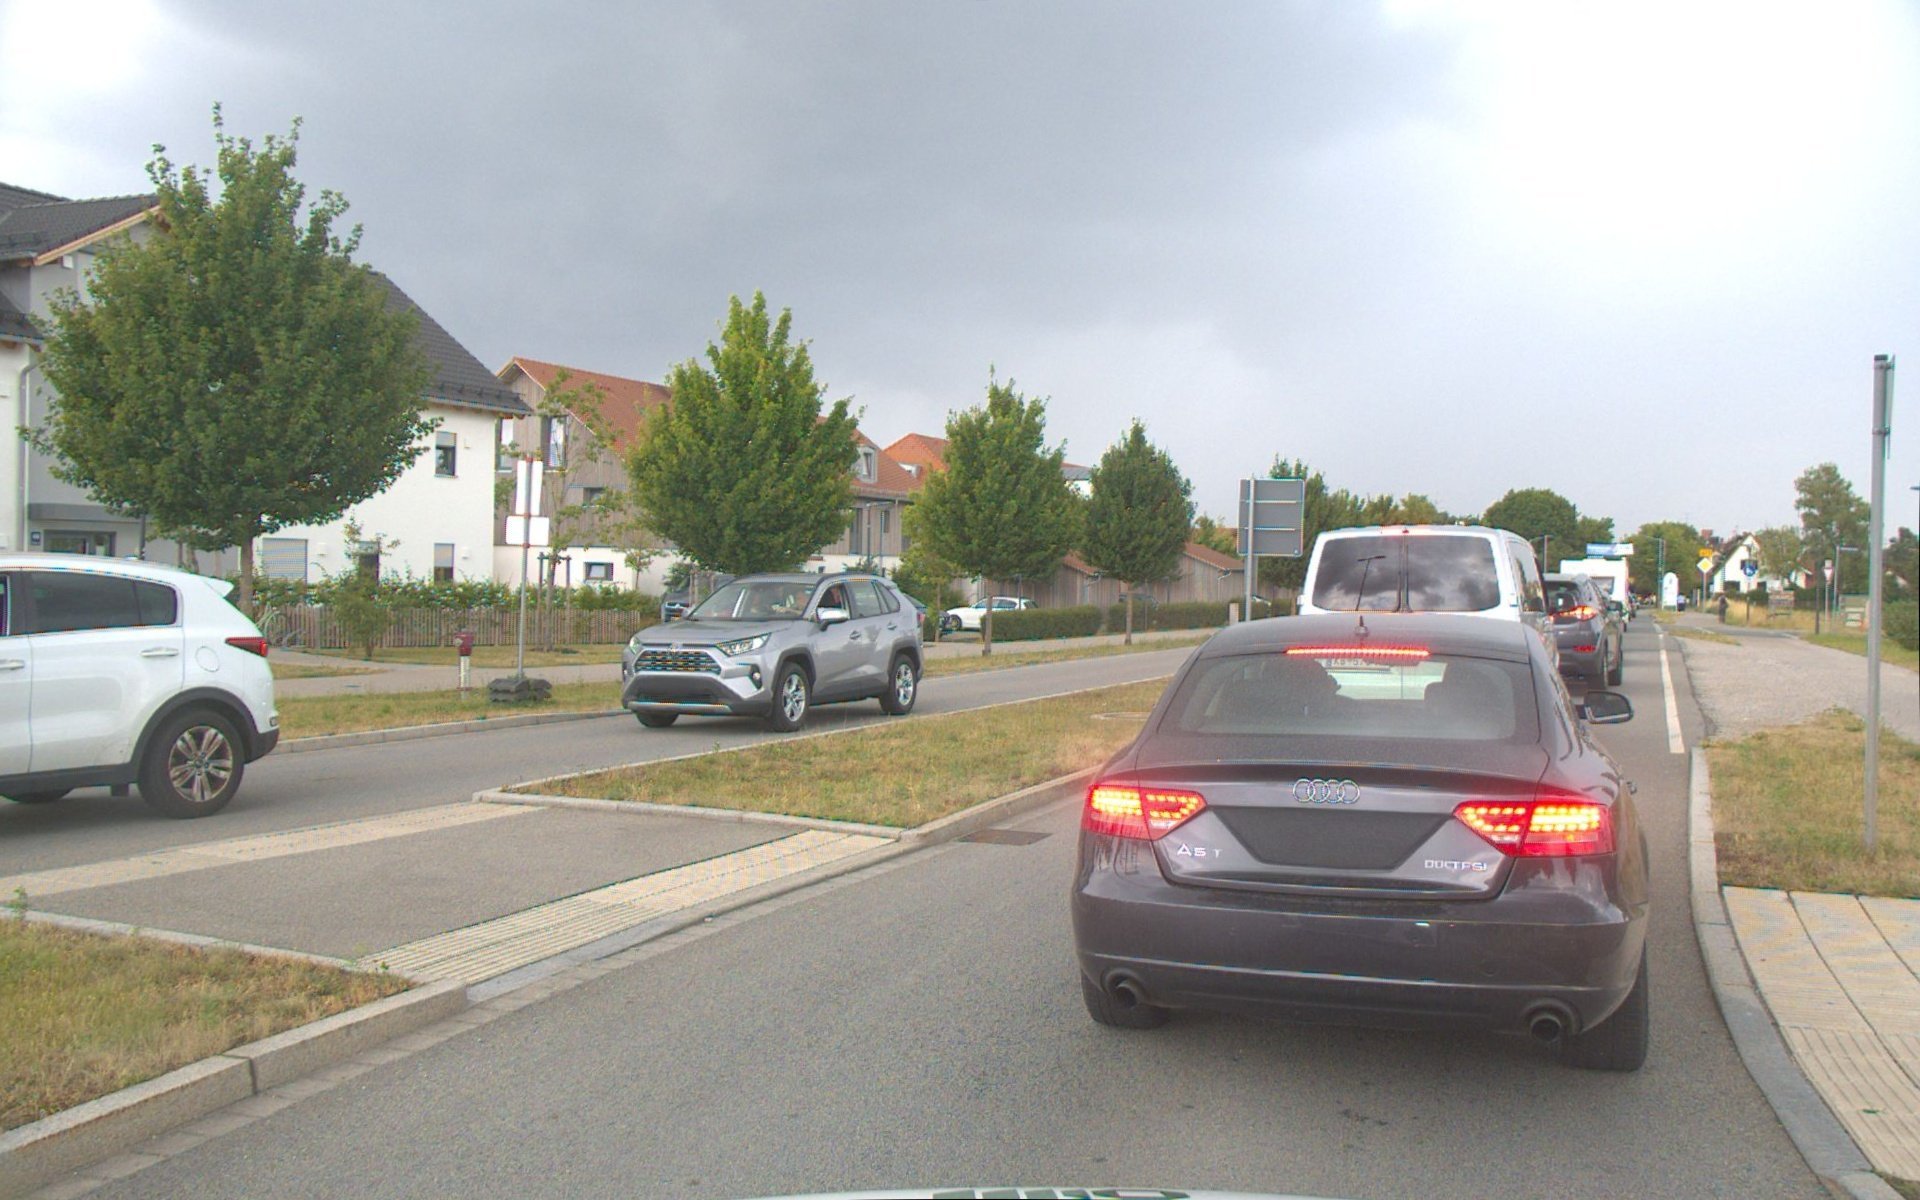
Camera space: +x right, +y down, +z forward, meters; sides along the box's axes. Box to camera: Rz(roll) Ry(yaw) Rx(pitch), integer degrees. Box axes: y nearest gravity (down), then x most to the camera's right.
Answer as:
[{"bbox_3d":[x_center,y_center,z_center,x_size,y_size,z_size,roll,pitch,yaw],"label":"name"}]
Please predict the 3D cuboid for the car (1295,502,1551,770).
[{"bbox_3d":[4.152,0.235,14.423,1.828,1.968,4.001,2,1,20],"label":"car"}]

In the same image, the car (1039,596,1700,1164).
[{"bbox_3d":[1.753,0.700,6.415,1.747,1.416,4.133,0,0,20],"label":"car"}]

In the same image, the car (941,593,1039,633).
[{"bbox_3d":[1.235,0.525,67.692,3.652,1.507,1.687,2,1,20],"label":"car"}]

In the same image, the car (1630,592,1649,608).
[{"bbox_3d":[64.640,-0.028,157.317,1.581,1.433,3.614,2,1,23],"label":"car"}]

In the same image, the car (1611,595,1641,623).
[{"bbox_3d":[42.054,0.545,104.407,1.581,1.659,3.614,2,1,23],"label":"car"}]

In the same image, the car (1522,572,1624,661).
[{"bbox_3d":[12.173,0.300,32.724,1.740,1.646,3.999,1,0,22],"label":"car"}]

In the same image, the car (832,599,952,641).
[{"bbox_3d":[-2.420,0.698,58.750,3.834,1.338,1.843,2,1,21],"label":"car"}]

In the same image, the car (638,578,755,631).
[{"bbox_3d":[-9.628,0.164,60.702,1.955,1.803,4.459,1,0,28],"label":"car"}]

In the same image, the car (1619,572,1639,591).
[{"bbox_3d":[81.436,-2.227,201.299,1.955,2.250,3.995,2,1,27],"label":"car"}]

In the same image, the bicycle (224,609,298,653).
[{"bbox_3d":[-14.399,0.628,34.095,0.360,0.857,1.546,4,2,24],"label":"bicycle"}]

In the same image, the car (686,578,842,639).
[{"bbox_3d":[-6.073,0.235,51.234,4.442,1.709,1.998,2,1,26],"label":"car"}]

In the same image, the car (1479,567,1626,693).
[{"bbox_3d":[8.548,0.394,23.691,1.740,1.646,3.999,-1,0,23],"label":"car"}]

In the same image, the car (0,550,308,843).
[{"bbox_3d":[-6.184,0.538,9.651,1.675,1.654,4.445,0,0,27],"label":"car"}]

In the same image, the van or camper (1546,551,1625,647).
[{"bbox_3d":[23.922,-0.025,63.070,2.571,3.381,6.820,2,0,22],"label":"van or camper"}]

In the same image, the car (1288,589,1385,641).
[{"bbox_3d":[11.274,0.413,49.297,1.720,1.441,4.449,2,1,28],"label":"car"}]

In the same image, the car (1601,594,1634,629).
[{"bbox_3d":[36.536,0.618,91.852,1.581,1.825,3.998,2,1,23],"label":"car"}]

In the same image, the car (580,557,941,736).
[{"bbox_3d":[-2.043,0.437,18.538,1.953,1.733,4.633,0,0,24],"label":"car"}]
